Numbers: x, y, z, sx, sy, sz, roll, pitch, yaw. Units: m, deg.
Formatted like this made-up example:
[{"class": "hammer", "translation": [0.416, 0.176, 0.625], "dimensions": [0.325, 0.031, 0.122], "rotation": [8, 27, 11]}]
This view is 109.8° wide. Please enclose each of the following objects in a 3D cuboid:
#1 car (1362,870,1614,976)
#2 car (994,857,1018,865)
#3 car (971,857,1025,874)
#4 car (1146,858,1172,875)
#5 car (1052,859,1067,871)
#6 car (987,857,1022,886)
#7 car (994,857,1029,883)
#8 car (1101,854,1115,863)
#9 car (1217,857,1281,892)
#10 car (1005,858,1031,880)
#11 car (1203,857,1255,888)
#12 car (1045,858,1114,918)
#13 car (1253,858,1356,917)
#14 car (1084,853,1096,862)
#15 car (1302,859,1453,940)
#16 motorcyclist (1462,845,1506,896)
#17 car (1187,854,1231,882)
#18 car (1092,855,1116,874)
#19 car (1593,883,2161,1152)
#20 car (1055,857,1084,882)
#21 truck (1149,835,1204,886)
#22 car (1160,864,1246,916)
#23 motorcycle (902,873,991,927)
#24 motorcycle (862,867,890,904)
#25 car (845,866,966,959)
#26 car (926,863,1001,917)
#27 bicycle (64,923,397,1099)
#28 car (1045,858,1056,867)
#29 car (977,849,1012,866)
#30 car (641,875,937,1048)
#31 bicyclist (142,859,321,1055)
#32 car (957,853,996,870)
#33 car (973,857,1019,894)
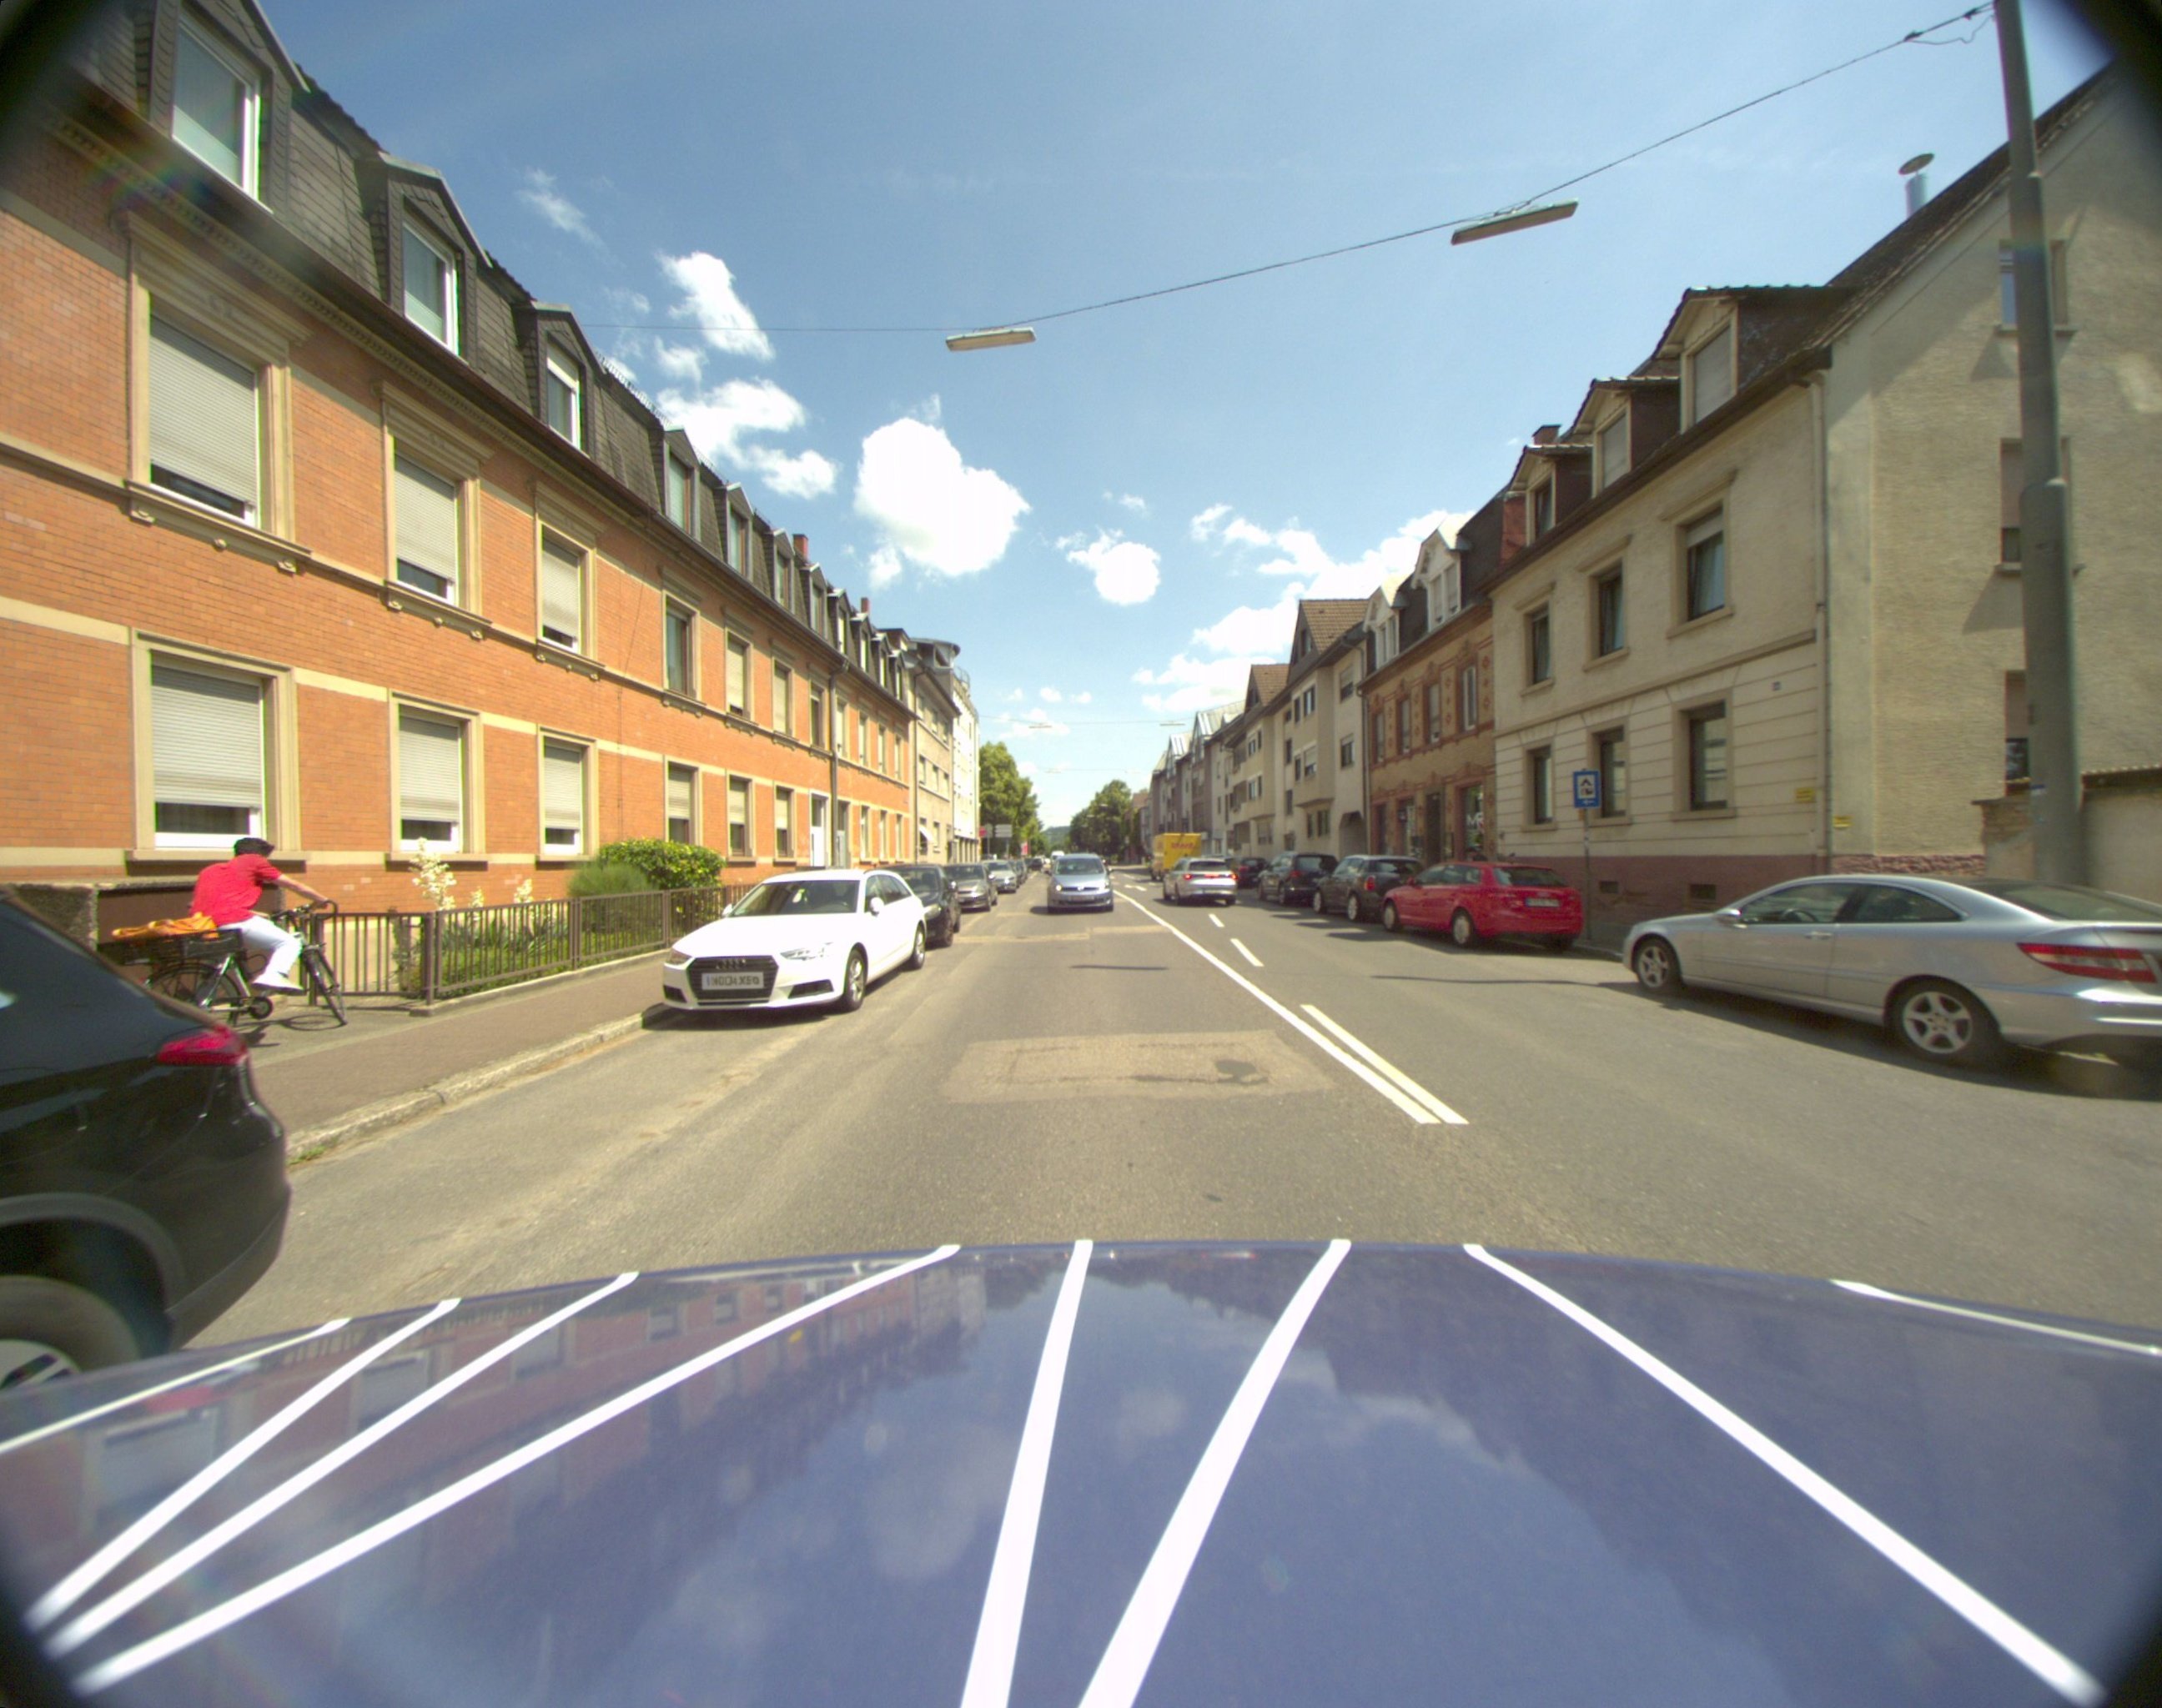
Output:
[{"class": "car", "translation": [6.897, 1.071, 13.551], "dimensions": [1.845, 1.414, 4.501], "rotation": [3, 0, -3]}, {"class": "car", "translation": [-12.438, 1.149, 125.607], "dimensions": [3.850, 1.350, 1.628], "rotation": [-1, 0, -11]}, {"class": "car", "translation": [-7.251, 0.984, 66.852], "dimensions": [4.594, 1.357, 1.999], "rotation": [-1, 0, -4]}, {"class": "car", "translation": [7.308, 1.187, 71.961], "dimensions": [1.844, 1.439, 4.968], "rotation": [-2, 0, -1]}, {"class": "car", "translation": [-2.649, 1.318, 95.215], "dimensions": [1.720, 1.406, 4.589], "rotation": [0, 0, 1]}, {"class": "car", "translation": [-3.850, 0.848, 38.909], "dimensions": [1.656, 1.412, 4.047], "rotation": [0, 0, -4]}, {"class": "car", "translation": [-4.045, 0.916, 44.571], "dimensions": [1.716, 1.464, 4.437], "rotation": [0, 0, -1]}, {"class": "car", "translation": [4.575, 0.825, 130.331], "dimensions": [1.891, 1.531, 4.566], "rotation": [0, 0, -4]}, {"class": "car", "translation": [7.986, 0.946, 36.552], "dimensions": [1.845, 1.479, 4.501], "rotation": [-2, 0, -2]}, {"class": "car", "translation": [-4.444, 1.014, 53.762], "dimensions": [1.682, 1.446, 4.141], "rotation": [-2, 0, -4]}, {"class": "car", "translation": [8.062, 0.980, 41.745], "dimensions": [1.844, 1.479, 4.385], "rotation": [-2, 0, -1]}, {"class": "car", "translation": [-0.111, 0.869, 21.523], "dimensions": [1.747, 1.513, 4.222], "rotation": [0, 0, -2]}, {"class": "car", "translation": [6.859, 0.959, 23.823], "dimensions": [1.844, 1.587, 4.502], "rotation": [2, 0, 0]}, {"class": "car", "translation": [1.549, 0.628, 132.433], "dimensions": [1.817, 1.611, 4.440], "rotation": [1, -1, -3]}, {"class": "car", "translation": [7.028, 1.003, 18.600], "dimensions": [1.844, 1.587, 4.502], "rotation": [3, 0, 0]}, {"class": "motorcyclist", "translation": [10.036, 0.398, 18.941], "dimensions": [0.720, 1.241, 0.712], "rotation": [0, 0, -1]}, {"class": "car", "translation": [8.064, 0.860, 48.112], "dimensions": [1.845, 1.586, 4.385], "rotation": [-2, 0, -2]}, {"class": "car", "translation": [1.824, 0.803, 60.542], "dimensions": [1.501, 1.450, 2.721], "rotation": [0, 0, -7]}, {"class": "car", "translation": [7.073, 1.100, 6.825], "dimensions": [1.844, 1.414, 4.502], "rotation": [2, 0, 0]}, {"class": "car", "translation": [-0.787, 1.069, 54.868], "dimensions": [1.998, 1.652, 4.625], "rotation": [0, 0, 1]}, {"class": "truck", "translation": [5.566, 0.356, 45.308], "dimensions": [2.231, 2.755, 7.563], "rotation": [1, 0, 0]}, {"class": "car", "translation": [3.656, 1.038, 23.521], "dimensions": [1.795, 1.412, 4.313], "rotation": [0, 0, -2]}, {"class": "motorcycle", "translation": [-3.352, 1.109, 18.858], "dimensions": [1.990, 1.218, 1.115], "rotation": [-2, 0, 39]}, {"class": "motorcycle", "translation": [-7.118, 1.092, 26.435], "dimensions": [0.597, 1.217, 1.361], "rotation": [0, 1, 0]}, {"class": "car", "translation": [-3.212, 0.989, 14.706], "dimensions": [1.653, 1.406, 4.499], "rotation": [-1, 0, -5]}, {"class": "car", "translation": [-3.404, 1.010, 22.648], "dimensions": [1.705, 1.372, 4.165], "rotation": [-1, 0, -2]}, {"class": "bicycle", "translation": [-6.782, 1.181, 6.240], "dimensions": [0.594, 1.060, 1.882], "rotation": [0, 0, 1]}, {"class": "car", "translation": [-5.361, 1.430, 132.931], "dimensions": [1.868, 1.516, 4.207], "rotation": [-1, 0, -2]}, {"class": "car", "translation": [-12.251, 0.486, 107.958], "dimensions": [4.615, 2.263, 2.105], "rotation": [-2, 0, -2]}, {"class": "car", "translation": [-3.063, 1.031, 9.122], "dimensions": [1.720, 1.406, 4.589], "rotation": [0, 0, 1]}, {"class": "bicyclist", "translation": [-6.775, 0.779, 6.102], "dimensions": [0.534, 1.461, 0.791], "rotation": [0, 0, 1]}, {"class": "car", "translation": [-11.481, 0.793, 83.809], "dimensions": [3.998, 1.740, 2.016], "rotation": [-1, 1, -3]}, {"class": "car", "translation": [-3.788, 0.909, 33.575], "dimensions": [1.859, 1.455, 4.547], "rotation": [-1, 0, -7]}]
